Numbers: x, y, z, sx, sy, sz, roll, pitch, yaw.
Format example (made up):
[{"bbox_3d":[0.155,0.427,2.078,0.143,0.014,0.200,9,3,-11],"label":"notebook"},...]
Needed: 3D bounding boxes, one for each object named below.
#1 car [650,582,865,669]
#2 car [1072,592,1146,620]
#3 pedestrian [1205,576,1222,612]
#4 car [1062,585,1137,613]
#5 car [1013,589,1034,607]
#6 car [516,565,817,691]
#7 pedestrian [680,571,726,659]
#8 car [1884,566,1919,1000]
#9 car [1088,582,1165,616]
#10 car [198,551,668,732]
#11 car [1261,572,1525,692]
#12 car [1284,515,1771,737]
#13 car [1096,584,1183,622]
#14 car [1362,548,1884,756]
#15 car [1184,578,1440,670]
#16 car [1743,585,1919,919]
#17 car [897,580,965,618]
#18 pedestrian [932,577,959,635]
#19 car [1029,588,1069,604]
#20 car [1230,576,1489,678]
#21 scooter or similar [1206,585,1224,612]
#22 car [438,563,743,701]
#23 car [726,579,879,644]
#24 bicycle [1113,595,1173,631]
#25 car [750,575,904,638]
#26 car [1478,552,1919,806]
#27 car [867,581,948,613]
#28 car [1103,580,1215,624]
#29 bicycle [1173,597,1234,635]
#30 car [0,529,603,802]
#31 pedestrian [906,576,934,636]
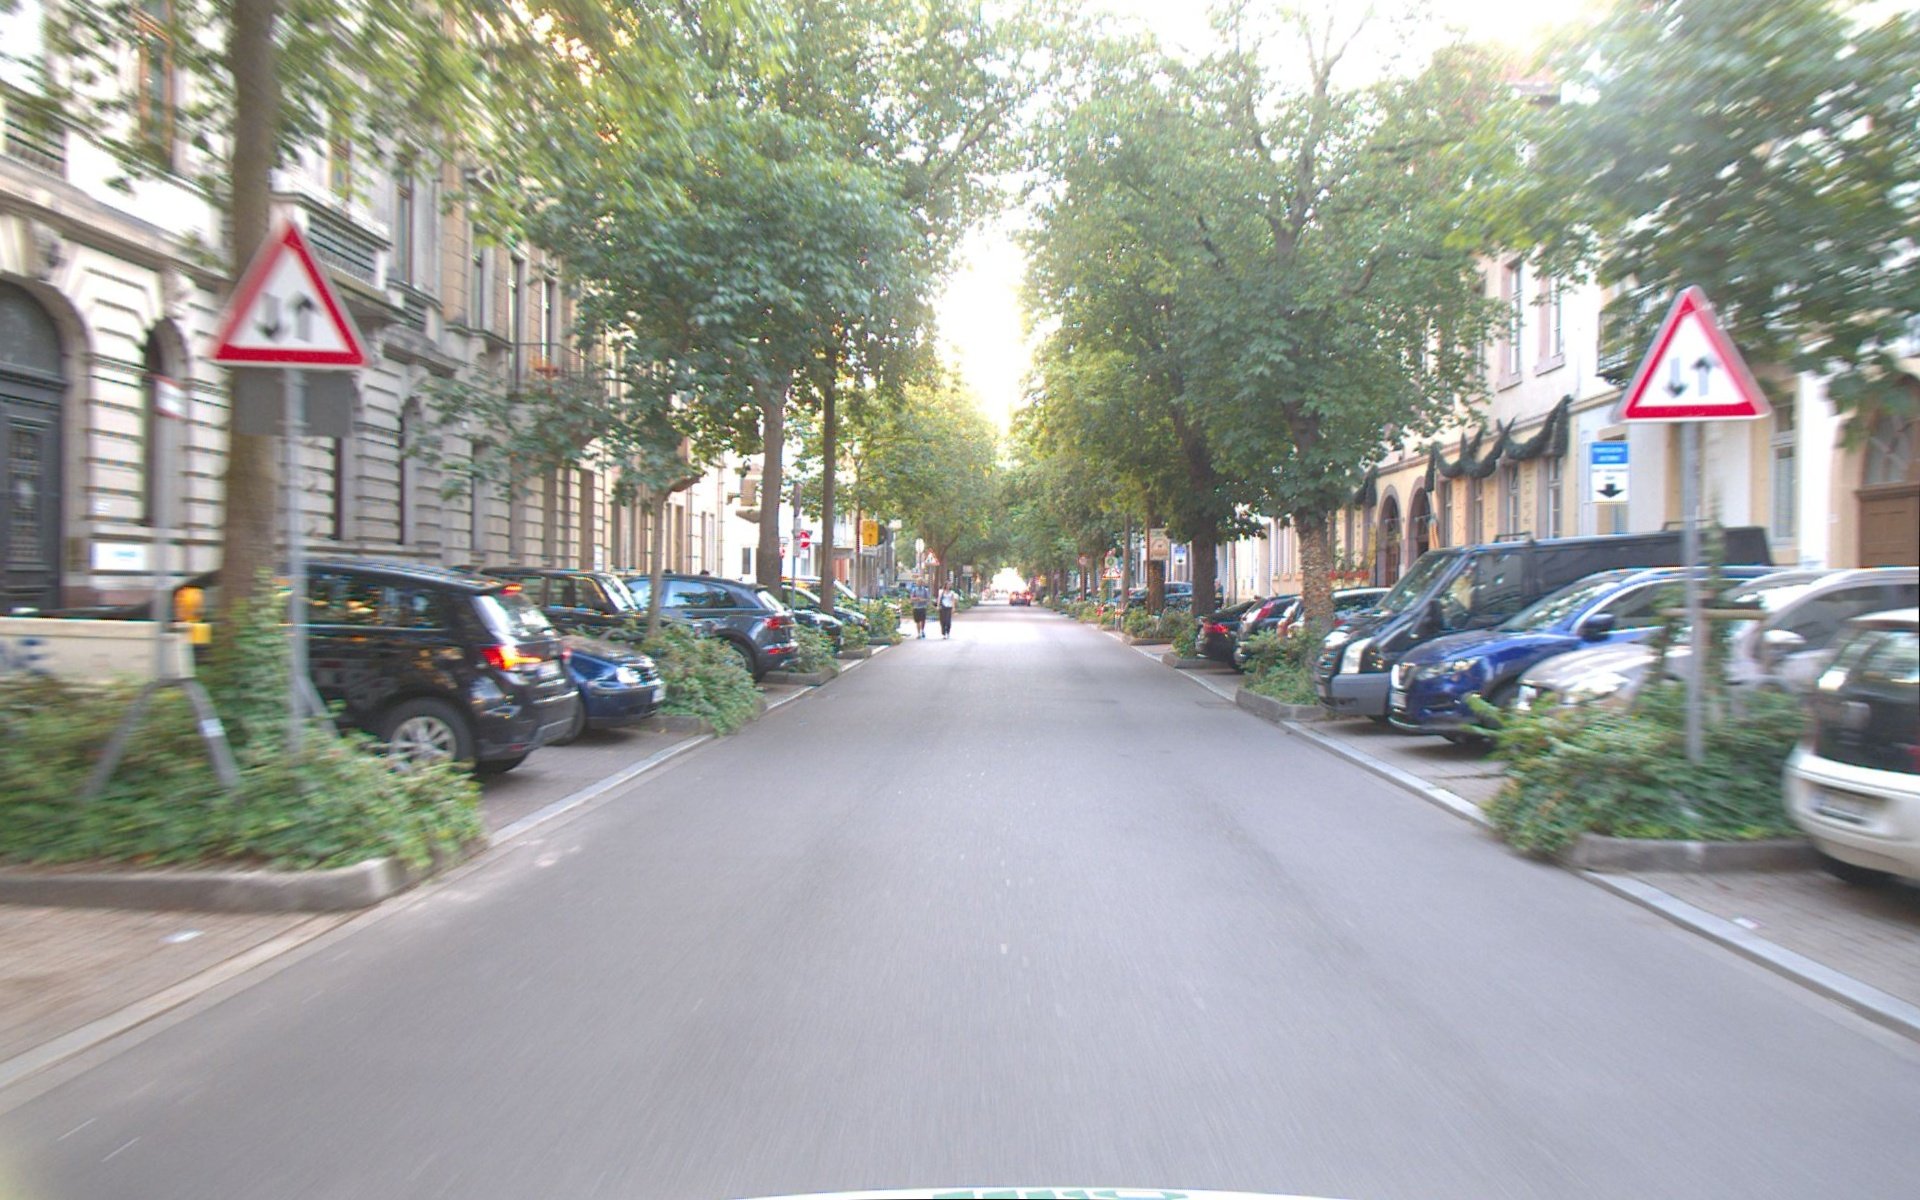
[{"bbox_3d":[-3.862,0.479,32.035,3.864,1.559,1.908,1,0,1],"label":"car"},{"bbox_3d":[8.163,0.326,90.826,3.798,1.465,1.847,-1,0,-2],"label":"car"},{"bbox_3d":[11.127,-0.276,72.634,0.641,1.563,0.831,-1,0,2],"label":"pedestrian"},{"bbox_3d":[8.811,-0.078,104.728,4.619,1.740,1.951,1,1,3],"label":"car"},{"bbox_3d":[6.006,-0.179,157.313,1.916,1.593,4.283,-1,0,2],"label":"car"},{"bbox_3d":[-4.357,0.392,25.002,4.114,1.701,1.908,2,1,2],"label":"car"},{"bbox_3d":[-5.258,0.304,33.858,0.719,1.769,0.672,1,0,8],"label":"pedestrian"},{"bbox_3d":[5.755,0.556,5.250,4.496,1.606,1.944,-3,0,0],"label":"car"},{"bbox_3d":[7.805,-0.057,77.911,3.412,1.478,1.899,-1,0,-1],"label":"car"},{"bbox_3d":[-4.979,0.356,15.971,3.883,1.411,1.765,4,1,2],"label":"car"},{"bbox_3d":[6.650,0.480,25.673,3.604,1.606,1.715,-3,0,2],"label":"car"},{"bbox_3d":[6.099,0.270,18.230,4.593,2.046,2.037,-3,0,1],"label":"car"},{"bbox_3d":[7.521,0.116,69.347,3.412,1.478,1.899,-1,0,-1],"label":"car"},{"bbox_3d":[6.091,0.455,15.581,4.071,1.606,1.970,-3,0,0],"label":"car"},{"bbox_3d":[6.478,0.432,30.806,4.311,1.418,1.885,-3,0,-1],"label":"car"},{"bbox_3d":[6.132,0.595,8.117,3.715,1.448,1.698,-3,0,0],"label":"car"},{"bbox_3d":[-1.956,-0.083,113.475,4.585,2.521,2.000,0,0,1],"label":"car"},{"bbox_3d":[-0.429,0.180,49.194,0.778,1.700,0.831,-1,0,1],"label":"pedestrian"},{"bbox_3d":[9.469,-0.470,176.179,4.180,1.593,1.963,-2,0,1],"label":"car"},{"bbox_3d":[6.761,0.440,28.271,3.906,1.462,1.926,-3,0,0],"label":"car"},{"bbox_3d":[11.107,-0.067,72.055,0.641,1.173,0.831,-1,0,2],"label":"scooter or similar"},{"bbox_3d":[-4.986,0.406,22.657,3.723,1.701,1.714,2,1,0],"label":"car"},{"bbox_3d":[-3.942,0.268,41.880,3.616,1.483,1.873,2,1,1],"label":"car"},{"bbox_3d":[6.028,0.426,54.547,1.803,1.155,0.743,-1,0,-9],"label":"bicycle"},{"bbox_3d":[-3.932,0.170,49.292,4.334,1.680,1.873,2,1,2],"label":"car"},{"bbox_3d":[6.162,0.516,12.460,3.884,1.606,1.851,-3,0,0],"label":"car"},{"bbox_3d":[-2.649,-0.163,84.265,4.042,1.512,1.929,1,0,1],"label":"car"},{"bbox_3d":[7.933,0.073,66.229,4.333,1.685,1.900,0,0,3],"label":"car"},{"bbox_3d":[7.639,0.485,51.893,1.759,1.148,0.663,-1,0,-4],"label":"bicycle"},{"bbox_3d":[-4.907,0.453,12.525,3.884,1.624,1.781,4,0,2],"label":"car"},{"bbox_3d":[-1.194,0.175,49.316,0.778,1.767,0.831,-1,0,1],"label":"pedestrian"}]
